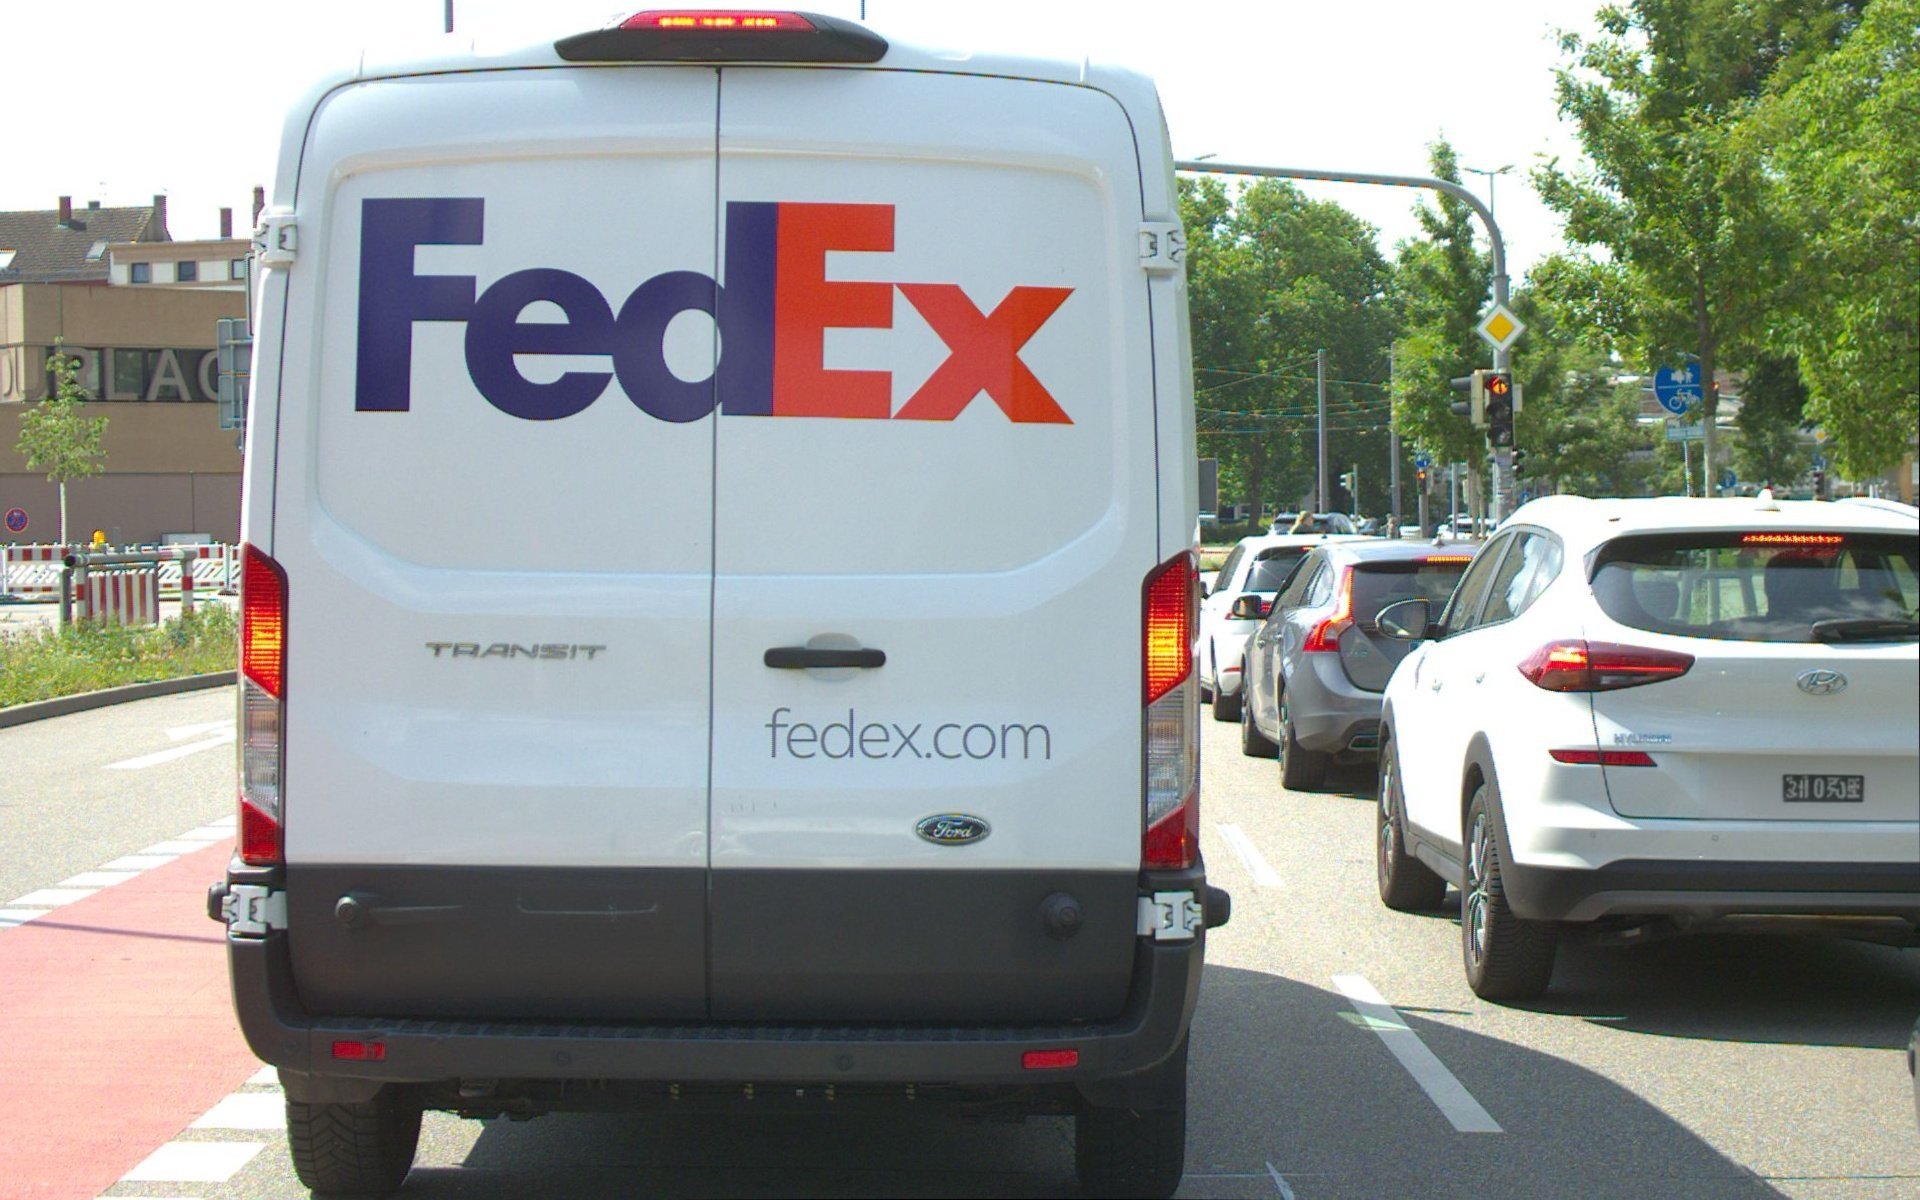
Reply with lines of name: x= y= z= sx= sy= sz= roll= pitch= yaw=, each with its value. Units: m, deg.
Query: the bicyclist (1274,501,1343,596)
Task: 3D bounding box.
bicyclist: x=5.480 y=-0.811 z=54.077 sx=0.967 sy=1.469 sz=0.551 roll=-1 pitch=1 yaw=-7

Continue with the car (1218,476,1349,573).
car: x=7.083 y=-1.629 z=74.849 sx=2.094 sy=2.007 sz=4.641 roll=-1 pitch=1 yaw=15

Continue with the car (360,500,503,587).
car: x=-12.717 y=-1.361 z=82.942 sx=1.995 sy=2.007 sz=3.998 roll=-1 pitch=1 yaw=14

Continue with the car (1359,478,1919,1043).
car: x=2.513 y=0.428 z=12.258 sx=1.798 sy=1.681 sz=4.000 roll=0 pitch=1 yaw=1

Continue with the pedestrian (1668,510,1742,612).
pedestrian: x=10.309 y=-0.546 z=47.574 sx=0.845 sy=1.384 sz=0.741 roll=-1 pitch=1 yaw=-1

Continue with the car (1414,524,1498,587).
car: x=14.513 y=-1.300 z=100.422 sx=1.995 sy=1.787 sz=4.369 roll=-1 pitch=1 yaw=14

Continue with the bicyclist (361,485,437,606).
bicyclist: x=-8.658 y=-0.847 z=53.084 sx=1.119 sy=1.838 sz=0.593 roll=-1 pitch=2 yaw=-7

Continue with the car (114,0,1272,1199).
car: x=-0.618 y=-0.016 z=9.234 sx=2.140 sy=2.643 sz=5.705 roll=0 pitch=1 yaw=-3

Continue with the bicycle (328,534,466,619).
bicycle: x=-8.682 y=-0.365 z=53.089 sx=2.064 sy=1.285 sz=0.604 roll=-1 pitch=1 yaw=-7

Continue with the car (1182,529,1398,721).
car: x=2.611 y=0.155 z=27.759 sx=1.484 sy=1.423 sz=3.433 roll=0 pitch=2 yaw=1

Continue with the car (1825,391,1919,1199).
car: x=2.559 y=0.556 z=4.252 sx=1.812 sy=1.728 sz=4.389 roll=0 pitch=1 yaw=-1

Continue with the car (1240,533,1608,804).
car: x=2.716 y=0.340 z=20.873 sx=1.798 sy=1.456 sz=3.838 roll=0 pitch=2 yaw=1
